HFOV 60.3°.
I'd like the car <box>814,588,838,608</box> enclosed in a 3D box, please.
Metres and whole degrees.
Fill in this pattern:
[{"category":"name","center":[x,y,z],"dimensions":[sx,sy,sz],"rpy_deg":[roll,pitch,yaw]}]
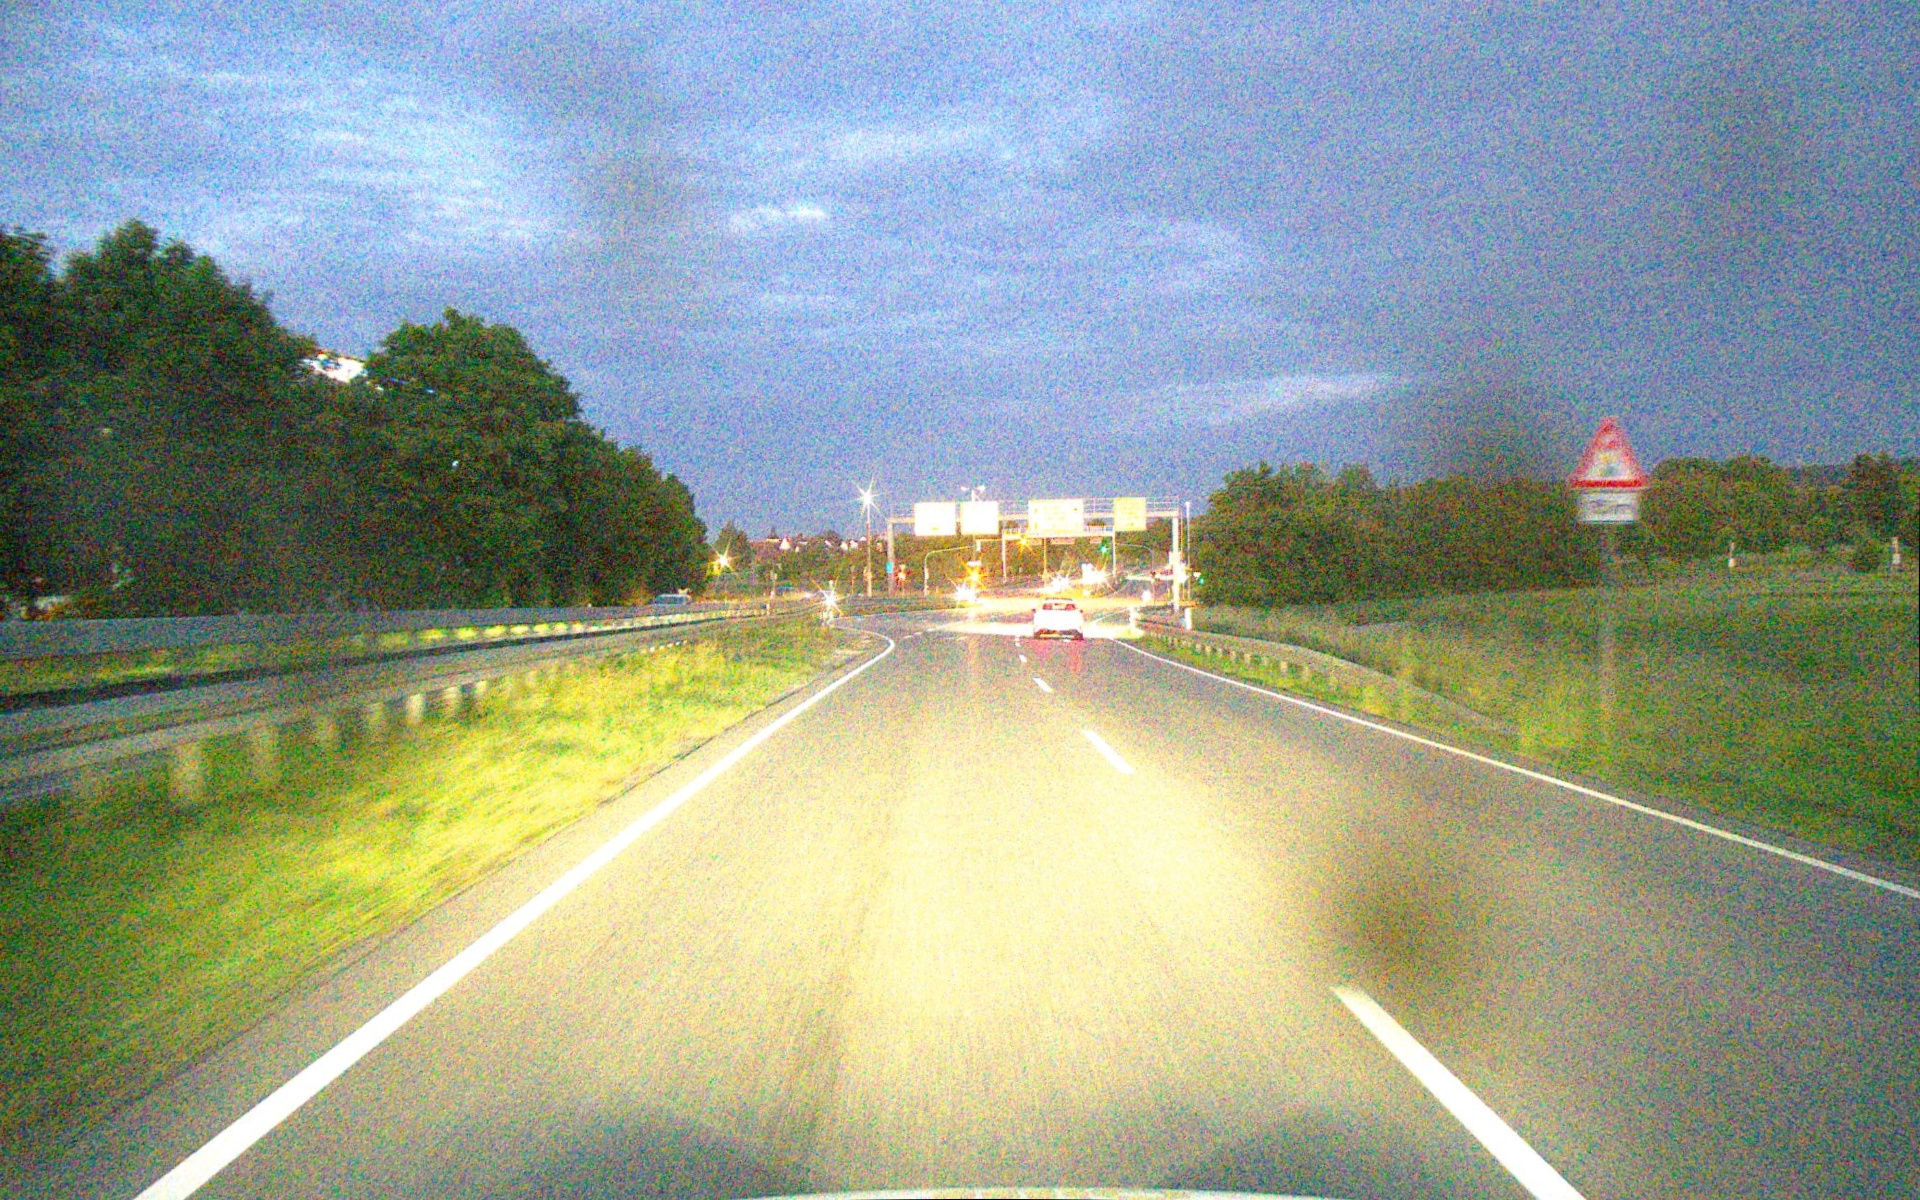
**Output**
[{"category":"car","center":[-10.972,-0.189,135.245],"dimensions":[1.666,1.651,4.306],"rpy_deg":[0,0,-1]}]

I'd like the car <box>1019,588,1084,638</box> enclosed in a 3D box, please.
[{"category":"car","center":[3.259,0.442,59.681],"dimensions":[1.967,1.639,3.844],"rpy_deg":[-2,0,-2]}]

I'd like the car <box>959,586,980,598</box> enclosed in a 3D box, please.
[{"category":"car","center":[1.243,-1.023,204.457],"dimensions":[1.951,1.450,4.536],"rpy_deg":[0,1,9]}]

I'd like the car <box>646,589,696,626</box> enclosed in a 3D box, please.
[{"category":"car","center":[-13.814,0.322,79.262],"dimensions":[1.734,1.670,4.659],"rpy_deg":[-2,0,-2]}]
